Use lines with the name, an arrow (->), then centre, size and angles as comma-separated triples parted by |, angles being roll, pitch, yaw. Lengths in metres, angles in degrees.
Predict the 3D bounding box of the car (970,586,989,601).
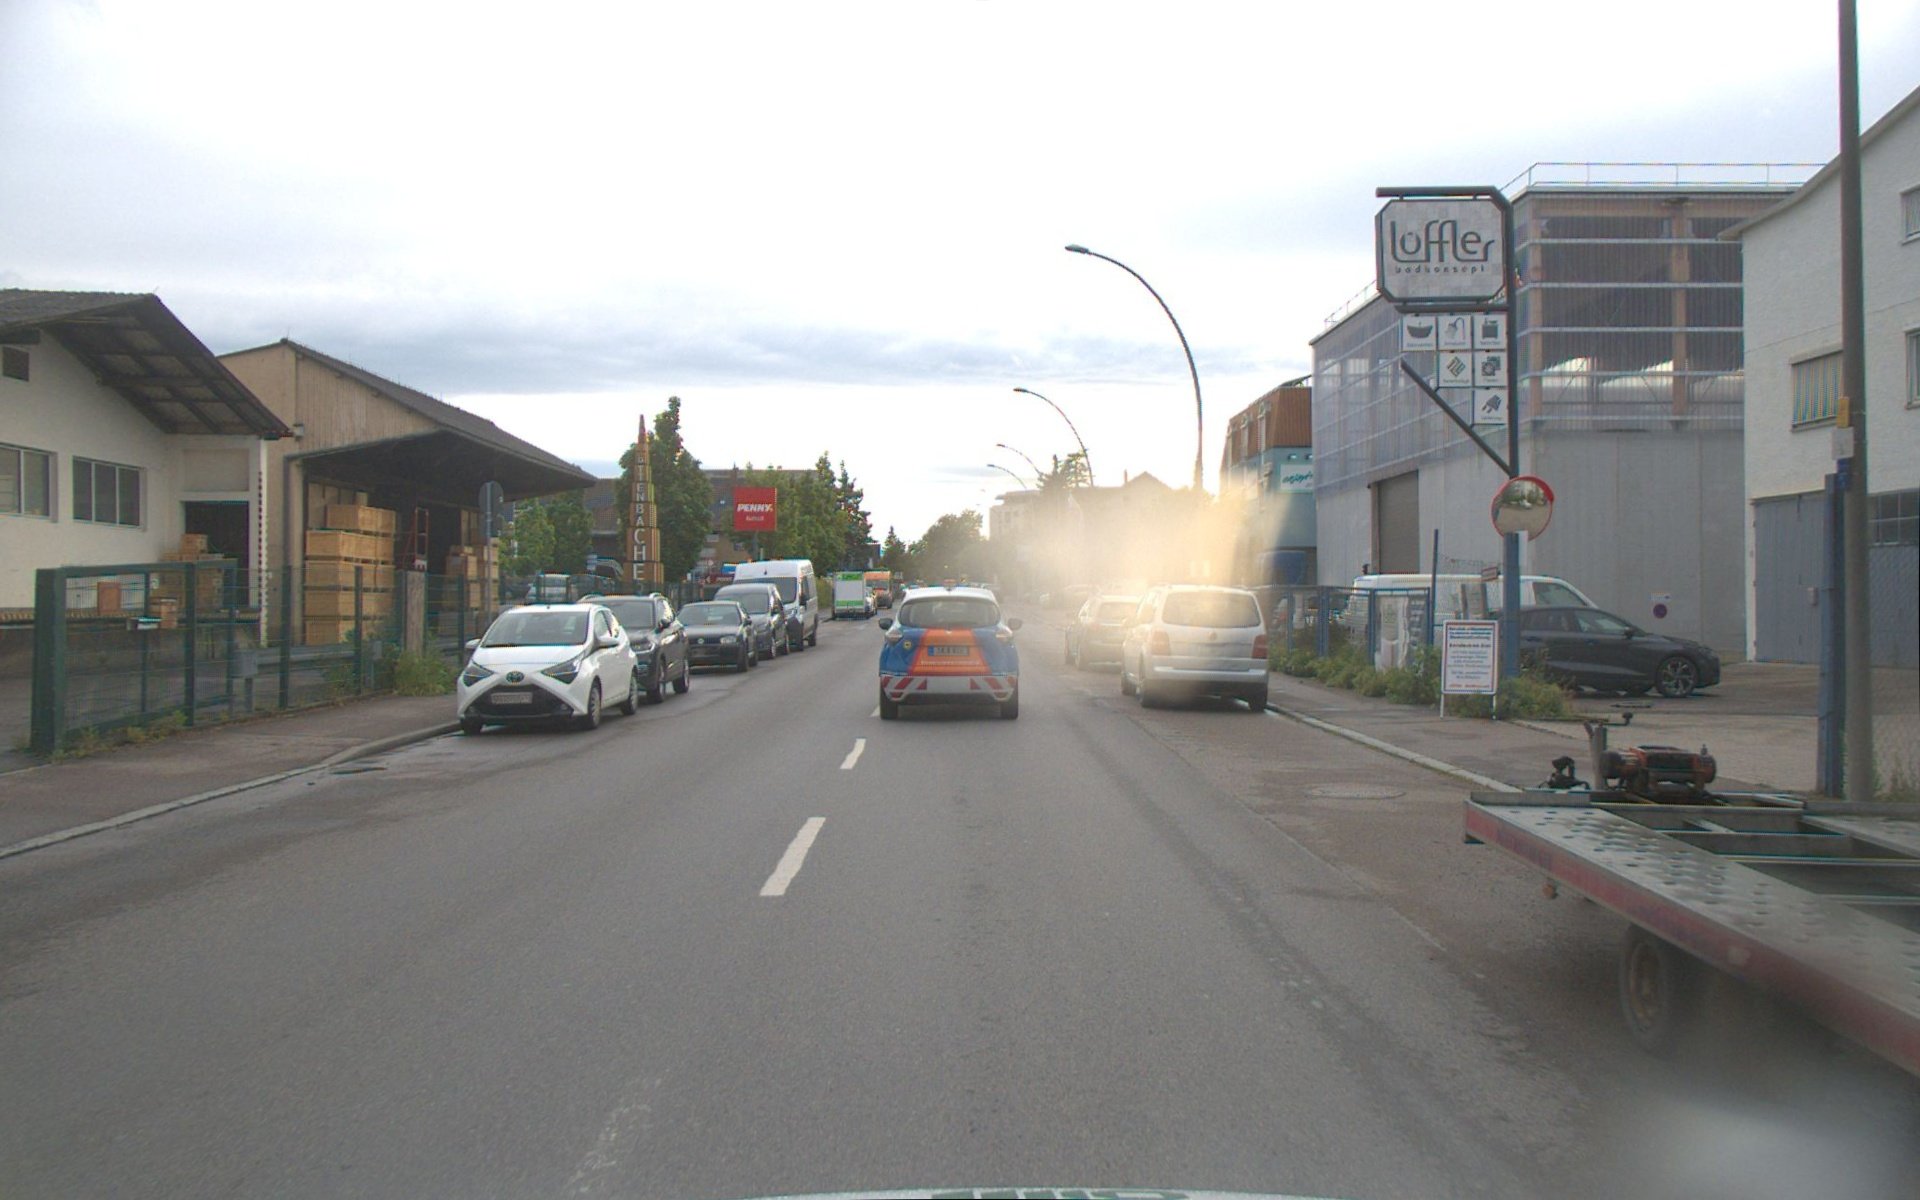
car -> 1.945, -0.672, 168.625 | 1.677, 1.463, 4.524 | 1, 0, -3

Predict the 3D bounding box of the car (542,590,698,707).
car -> -5.152, 0.690, 25.522 | 1.627, 1.612, 3.915 | -2, 0, -1

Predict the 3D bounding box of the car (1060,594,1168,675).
car -> 3.058, 0.653, 33.623 | 1.703, 1.492, 4.545 | 1, 0, -1

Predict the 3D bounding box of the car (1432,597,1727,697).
car -> 9.939, 0.733, 26.787 | 4.020, 1.482, 2.000 | 1, 0, -1

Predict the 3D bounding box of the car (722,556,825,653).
car -> -5.215, 0.101, 47.119 | 2.114, 2.469, 6.459 | -3, 0, 0

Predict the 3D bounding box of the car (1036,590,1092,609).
car -> 7.506, -0.043, 119.733 | 3.904, 1.288, 1.951 | 1, 0, 1

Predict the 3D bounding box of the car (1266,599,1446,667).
car -> 10.088, 0.829, 42.344 | 4.157, 1.563, 1.811 | 2, 0, -1

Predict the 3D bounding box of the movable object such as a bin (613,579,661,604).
movable object such as a bin -> -24.294, -0.612, 124.468 | 3.357, 1.790, 1.997 | 1, 0, -7

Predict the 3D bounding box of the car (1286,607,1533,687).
car -> 8.583, 0.892, 31.837 | 4.232, 1.403, 1.850 | 1, 0, -2

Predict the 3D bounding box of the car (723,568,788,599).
car -> -14.245, -1.177, 115.457 | 4.218, 2.049, 2.062 | 1, 0, -1

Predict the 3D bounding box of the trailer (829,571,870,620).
trailer -> -5.607, -0.256, 84.495 | 1.776, 2.354, 4.729 | -2, 0, -1

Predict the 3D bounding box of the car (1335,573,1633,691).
car -> 9.193, 0.547, 29.286 | 4.635, 1.919, 2.000 | 1, 0, -1

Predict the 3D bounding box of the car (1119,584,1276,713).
car -> 3.315, 0.635, 23.763 | 1.703, 1.650, 4.374 | 1, 0, 1

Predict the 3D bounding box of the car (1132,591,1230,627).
car -> 9.360, 0.368, 70.179 | 3.907, 1.455, 1.630 | 0, 0, -2

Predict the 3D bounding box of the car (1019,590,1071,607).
car -> 6.751, -0.109, 131.400 | 3.907, 1.288, 1.950 | 1, 0, -2

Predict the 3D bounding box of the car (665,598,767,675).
car -> -5.072, 0.726, 34.888 | 1.628, 1.474, 4.316 | -1, 0, -2

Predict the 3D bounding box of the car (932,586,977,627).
car -> -0.233, 0.258, 64.987 | 1.617, 1.548, 3.998 | 1, 0, -2

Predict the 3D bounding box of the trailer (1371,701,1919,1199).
trailer -> 3.308, 1.056, 5.578 | 2.129, 0.913, 6.635 | 1, 1, -1

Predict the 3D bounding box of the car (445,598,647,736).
car -> -5.077, 0.762, 20.723 | 1.583, 1.535, 3.660 | -1, 0, 0

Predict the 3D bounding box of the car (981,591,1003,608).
car -> 2.649, -0.069, 136.710 | 1.557, 1.364, 4.091 | 0, 0, -2

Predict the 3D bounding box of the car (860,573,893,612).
car -> -5.713, -0.557, 114.333 | 2.081, 2.582, 6.020 | -1, 1, -2

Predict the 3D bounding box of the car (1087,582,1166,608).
car -> 9.660, -0.267, 96.062 | 4.326, 1.417, 1.879 | 1, 0, -2

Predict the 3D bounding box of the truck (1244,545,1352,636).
truck -> 15.108, -0.411, 74.134 | 4.062, 3.737, 2.718 | 3, 0, -3

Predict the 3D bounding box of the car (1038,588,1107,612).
car -> 7.231, 0.009, 106.566 | 4.250, 1.501, 1.902 | 1, 0, -2

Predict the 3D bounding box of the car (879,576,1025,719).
car -> -0.131, 0.557, 20.975 | 1.696, 1.659, 3.493 | 0, 0, -1

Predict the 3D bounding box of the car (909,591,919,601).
car -> -6.938, -0.615, 249.640 | 1.358, 1.509, 3.782 | 0, 0, -2

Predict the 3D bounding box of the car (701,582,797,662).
car -> -5.214, 0.522, 41.327 | 1.733, 1.799, 4.446 | -4, 0, 0
